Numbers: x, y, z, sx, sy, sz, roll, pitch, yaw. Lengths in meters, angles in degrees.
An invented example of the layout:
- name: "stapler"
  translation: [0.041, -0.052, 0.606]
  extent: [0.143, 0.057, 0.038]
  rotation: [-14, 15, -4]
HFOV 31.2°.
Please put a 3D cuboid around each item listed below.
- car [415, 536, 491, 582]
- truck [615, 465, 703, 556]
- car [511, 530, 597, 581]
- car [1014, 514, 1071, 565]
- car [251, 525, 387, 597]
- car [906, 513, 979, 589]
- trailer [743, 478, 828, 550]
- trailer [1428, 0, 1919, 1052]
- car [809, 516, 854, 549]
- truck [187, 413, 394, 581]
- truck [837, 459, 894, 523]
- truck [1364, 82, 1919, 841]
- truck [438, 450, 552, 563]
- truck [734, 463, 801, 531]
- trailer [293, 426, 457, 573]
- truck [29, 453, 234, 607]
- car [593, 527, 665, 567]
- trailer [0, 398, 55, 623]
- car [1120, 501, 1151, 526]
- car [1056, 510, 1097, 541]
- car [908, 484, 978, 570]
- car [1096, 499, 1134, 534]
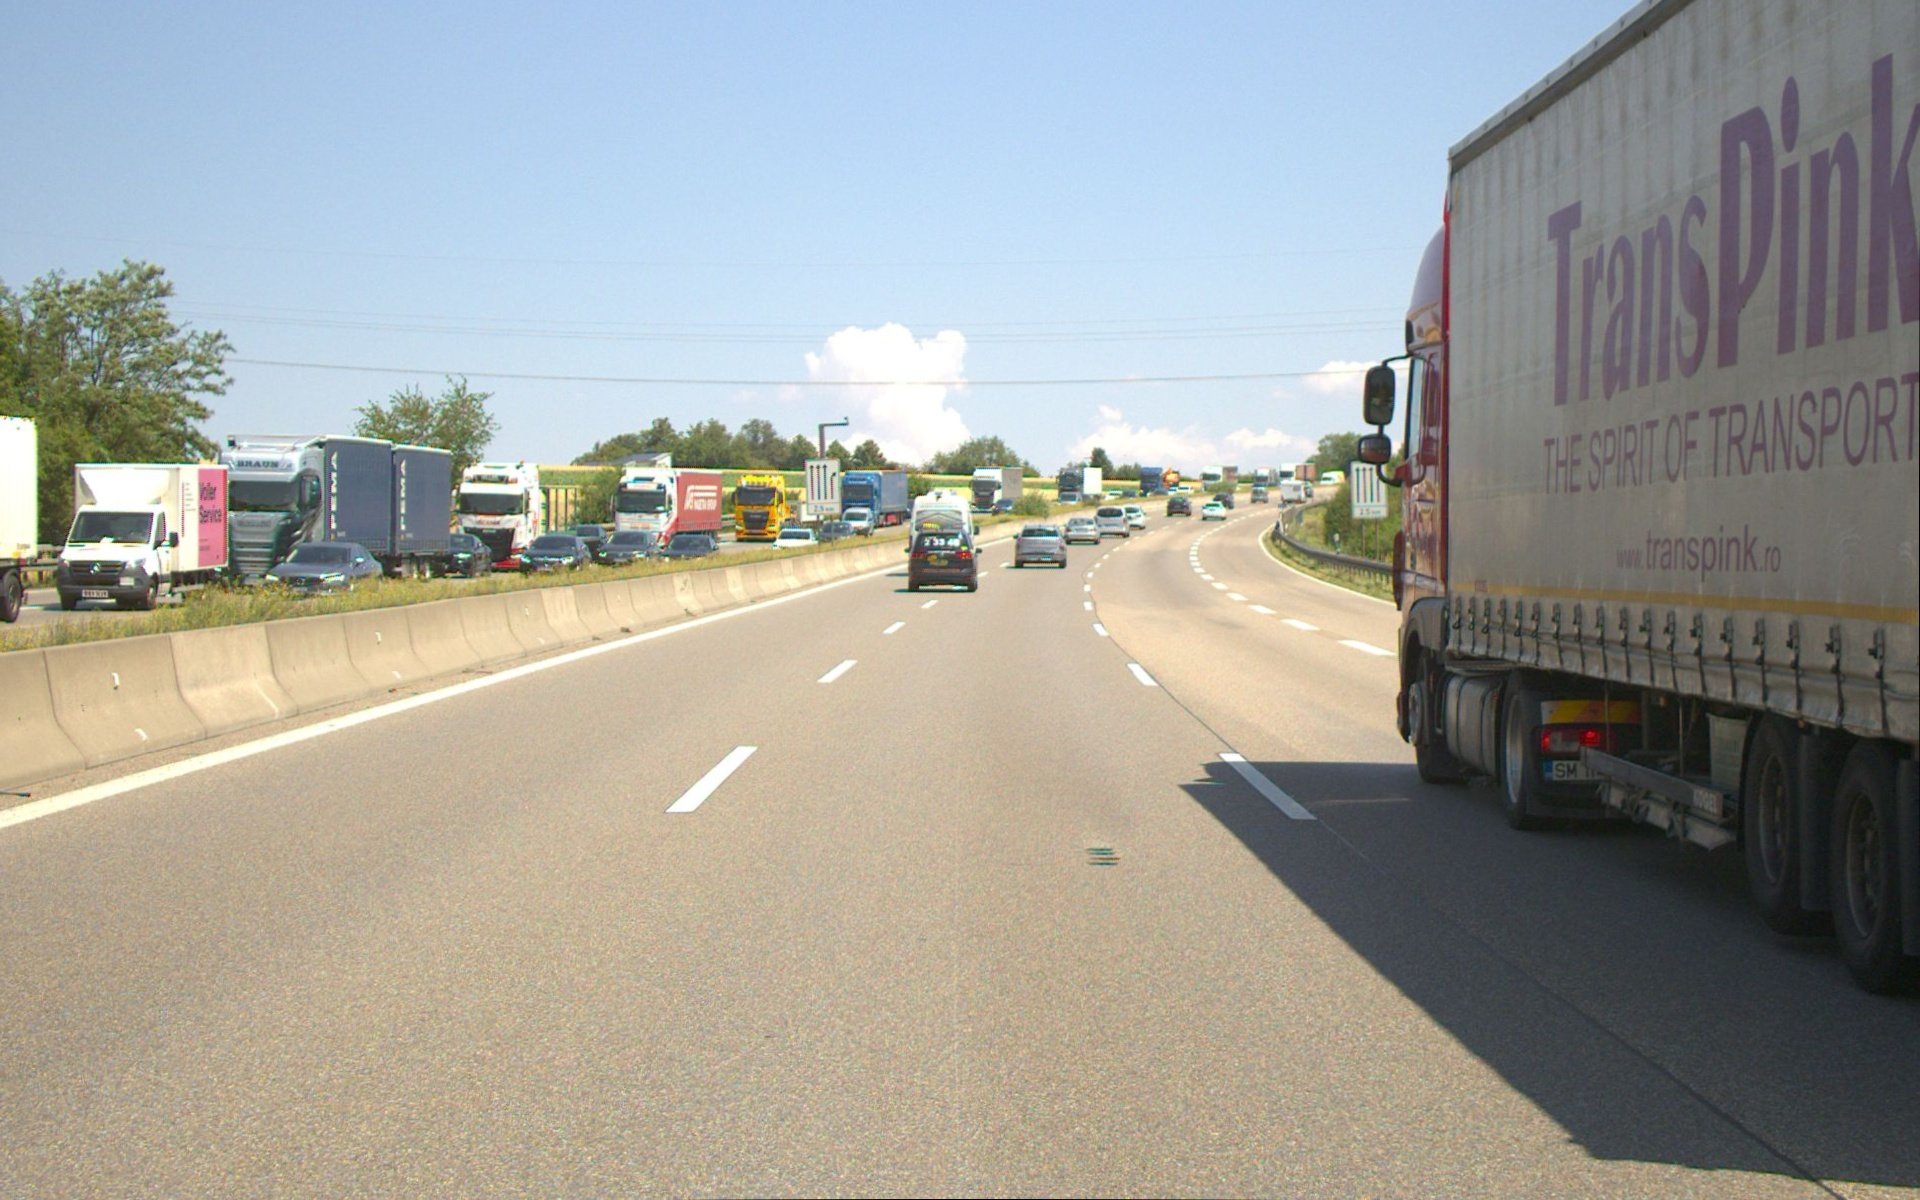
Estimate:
- name: "car"
  translation: [-16.441, -1.349, 111.656]
  extent: [1.656, 1.426, 4.648]
  rotation: [0, 1, 2]
- name: "truck"
  translation: [-13.787, -4.144, 158.127]
  extent: [3.036, 4.067, 6.314]
  rotation: [1, 2, 4]
- name: "car"
  translation: [-12.697, -1.426, 107.723]
  extent: [1.993, 1.522, 4.773]
  rotation: [1, 1, 2]
- name: "car"
  translation: [3.051, -2.196, 126.083]
  extent: [1.994, 1.744, 3.999]
  rotation: [1, -1, 2]
- name: "car"
  translation: [-14.355, -0.896, 77.287]
  extent: [1.993, 1.540, 5.494]
  rotation: [0, 1, 1]
- name: "car"
  translation: [-0.437, -1.307, 90.366]
  extent: [1.847, 1.854, 4.206]
  rotation: [0, 3, 0]
- name: "trailer"
  translation: [-10.355, -5.211, 205.723]
  extent: [2.953, 4.086, 14.379]
  rotation: [1, 2, 6]
- name: "trailer"
  translation: [4.434, -0.698, 14.435]
  extent: [2.918, 4.103, 13.859]
  rotation: [1, 1, 0]
- name: "car"
  translation: [-6.321, -3.333, 169.311]
  extent: [1.838, 1.578, 4.554]
  rotation: [1, 2, 2]
- name: "truck"
  translation: [-17.749, -2.743, 91.921]
  extent: [3.001, 4.219, 10.733]
  rotation: [0, 1, 3]
- name: "truck"
  translation: [-6.611, -7.741, 242.742]
  extent: [2.783, 4.320, 10.649]
  rotation: [2, 3, 4]
- name: "truck"
  translation: [4.414, -0.780, 21.500]
  extent: [2.916, 3.995, 6.511]
  rotation: [1, 1, 0]
- name: "truck"
  translation: [-16.460, -3.309, 121.963]
  extent: [2.901, 3.863, 6.178]
  rotation: [1, 2, 3]
- name: "truck"
  translation: [-11.106, -5.973, 198.522]
  extent: [2.751, 3.824, 7.097]
  rotation: [1, 2, 6]
- name: "trailer"
  translation: [-17.215, -2.959, 101.728]
  extent: [2.986, 4.178, 8.594]
  rotation: [0, 1, 3]
- name: "truck"
  translation: [-18.116, -1.563, 75.624]
  extent: [2.538, 3.196, 7.589]
  rotation: [1, 1, 1]
- name: "car"
  translation: [-12.138, -1.960, 126.402]
  extent: [1.993, 1.450, 5.170]
  rotation: [0, 1, 2]
- name: "trailer"
  translation: [-18.835, -1.582, 61.274]
  extent: [2.920, 4.058, 8.230]
  rotation: [-1, 1, 2]
- name: "car"
  translation: [11.853, -5.852, 231.887]
  extent: [1.994, 1.546, 4.000]
  rotation: [2, 3, 3]
- name: "car"
  translation: [6.142, -3.926, 180.804]
  extent: [1.994, 1.579, 4.000]
  rotation: [0, 1, 4]
- name: "car"
  translation: [-0.535, -2.344, 112.102]
  extent: [2.180, 2.616, 4.672]
  rotation: [1, -1, 1]
- name: "car"
  translation: [9.081, -4.904, 201.945]
  extent: [1.993, 1.897, 4.000]
  rotation: [1, 0, -1]
